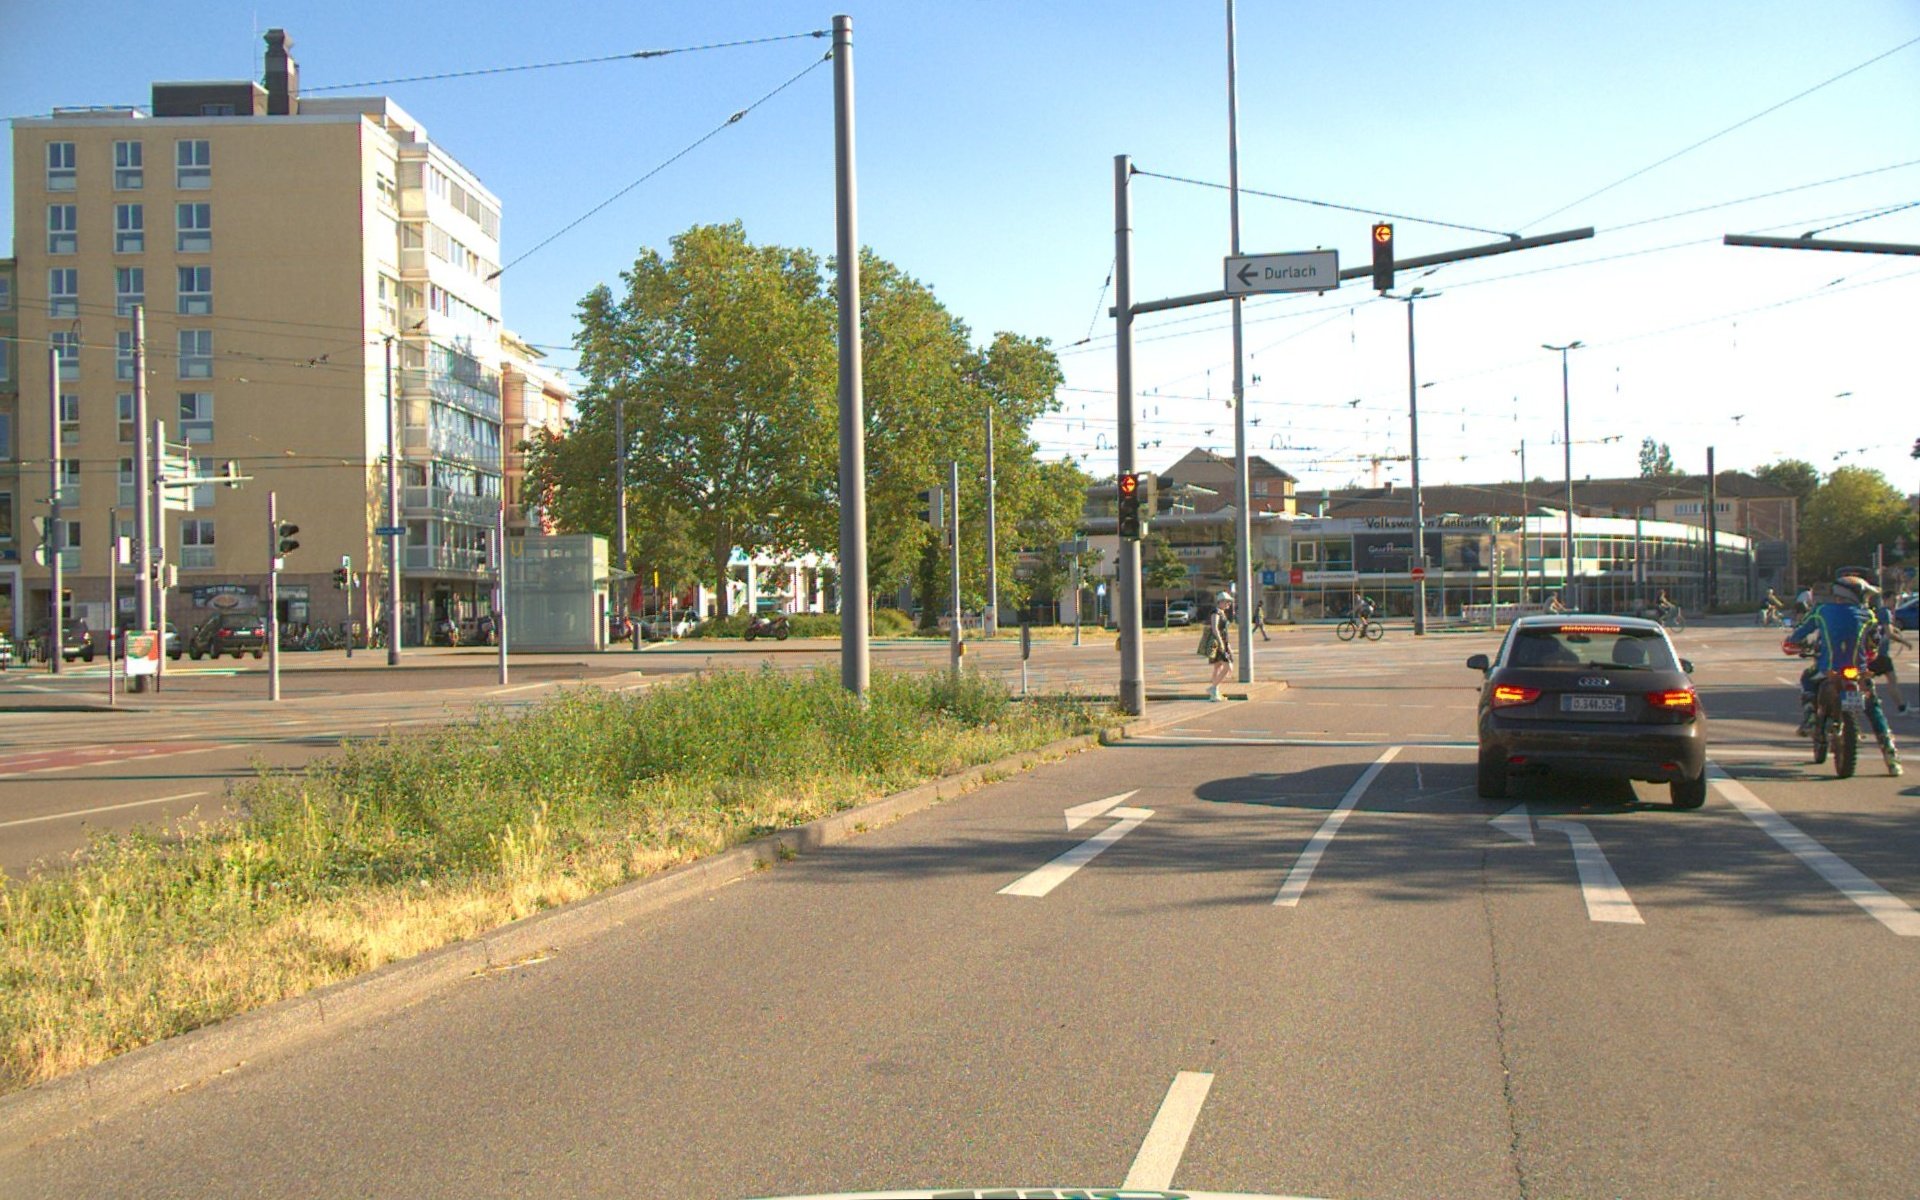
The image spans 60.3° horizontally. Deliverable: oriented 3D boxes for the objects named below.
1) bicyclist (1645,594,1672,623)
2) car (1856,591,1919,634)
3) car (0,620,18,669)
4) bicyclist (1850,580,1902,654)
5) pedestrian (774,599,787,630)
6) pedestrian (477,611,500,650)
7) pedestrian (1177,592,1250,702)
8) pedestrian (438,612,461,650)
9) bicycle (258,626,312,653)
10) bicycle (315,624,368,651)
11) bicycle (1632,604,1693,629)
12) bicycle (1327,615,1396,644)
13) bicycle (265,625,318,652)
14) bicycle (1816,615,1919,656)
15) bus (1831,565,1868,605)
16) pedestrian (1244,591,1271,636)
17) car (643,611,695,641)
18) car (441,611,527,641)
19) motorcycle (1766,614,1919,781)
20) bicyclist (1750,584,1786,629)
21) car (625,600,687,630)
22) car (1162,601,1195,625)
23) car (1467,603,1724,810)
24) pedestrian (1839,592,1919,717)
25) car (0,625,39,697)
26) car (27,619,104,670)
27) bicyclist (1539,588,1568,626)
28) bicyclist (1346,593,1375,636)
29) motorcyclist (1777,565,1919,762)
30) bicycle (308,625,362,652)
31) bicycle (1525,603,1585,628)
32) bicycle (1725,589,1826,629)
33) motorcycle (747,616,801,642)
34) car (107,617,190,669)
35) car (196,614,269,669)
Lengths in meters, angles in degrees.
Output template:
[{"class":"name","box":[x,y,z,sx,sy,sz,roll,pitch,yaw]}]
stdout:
[{"class":"bicyclist","box":[28.897,0.341,68.414,0.699,1.163,0.836,-1,1,-10]},{"class":"car","box":[36.709,0.457,62.863,4.511,1.622,1.952,-1,-1,26]},{"class":"car","box":[-37.630,1.694,63.286,2.068,1.749,3.952,-2,2,-40]},{"class":"bicyclist","box":[21.664,0.388,39.115,0.730,1.720,0.860,-1,1,-2]},{"class":"pedestrian","box":[-11.829,0.931,109.025,0.576,2.049,0.711,-1,-1,18]},{"class":"pedestrian","box":[-21.220,1.369,74.433,0.759,1.705,0.783,-1,-1,2]},{"class":"pedestrian","box":[3.848,0.703,25.093,1.069,1.634,0.699,0,1,8]},{"class":"pedestrian","box":[-22.972,1.385,74.458,0.759,1.705,0.783,-1,-1,2]},{"class":"bicycle","box":[-29.095,1.692,71.332,2.000,1.109,0.777,-1,-1,-1]},{"class":"bicycle","box":[-27.008,1.645,72.215,2.000,1.109,0.777,-1,-1,-1]},{"class":"bicycle","box":[29.067,0.686,68.451,2.254,0.976,0.858,-1,1,-10]},{"class":"bicycle","box":[15.057,1.115,62.099,2.387,1.021,0.963,-1,0,3]},{"class":"bicycle","box":[-29.182,1.668,72.204,2.000,1.109,0.777,-1,-1,-1]},{"class":"bicycle","box":[21.664,0.835,39.122,2.443,0.889,0.860,-1,1,-3]},{"class":"bus","box":[71.974,-1.263,133.804,2.310,2.933,9.560,0,2,30]},{"class":"pedestrian","box":[12.328,0.551,68.542,0.968,1.848,0.920,0,1,17]},{"class":"car","box":[-15.132,1.348,86.281,1.808,1.477,4.001,-1,0,3]},{"class":"car","box":[-24.318,1.341,84.549,3.908,1.447,1.812,-1,0,-4]},{"class":"motorcycle","box":[8.200,0.833,15.269,1.073,1.401,2.653,0,-1,20]},{"class":"bicyclist","box":[35.667,0.283,73.024,1.048,1.933,1.123,-1,1,1]},{"class":"car","box":[-20.536,0.986,111.758,3.923,1.889,1.845,-1,2,-17]},{"class":"car","box":[15.397,0.893,116.325,1.951,1.561,4.004,0,2,13]},{"class":"car","box":[5.294,0.767,14.073,1.763,1.469,3.980,0,0,19]},{"class":"pedestrian","box":[12.898,0.752,23.117,0.814,1.701,0.694,-1,-1,-20]},{"class":"car","box":[-30.366,1.844,50.184,3.658,2.048,2.000,-1,1,-1]},{"class":"car","box":[-34.146,1.663,63.099,1.823,1.749,3.942,-2,2,-40]},{"class":"bicyclist","box":[25.362,0.281,70.723,0.905,1.586,0.860,-1,1,-2]},{"class":"bicyclist","box":[15.035,0.526,62.101,0.904,1.587,0.963,-1,-1,3]},{"class":"motorcyclist","box":[8.206,0.565,15.284,1.073,1.751,0.937,0,-1,20]},{"class":"bicycle","box":[-26.956,1.669,71.367,2.000,1.109,0.777,-1,-1,-1]},{"class":"bicycle","box":[25.436,0.646,70.718,2.249,0.996,0.860,-1,1,-2]},{"class":"bicycle","box":[35.998,0.394,73.010,3.905,1.719,1.139,-1,1,0]},{"class":"motorcycle","box":[-8.014,1.262,71.261,2.236,1.072,0.688,0,1,6]},{"class":"car","box":[-30.971,1.615,63.111,1.824,1.778,3.938,-2,2,-42]},{"class":"car","box":[-27.910,1.565,63.421,1.832,1.889,3.951,-2,2,-35]}]
